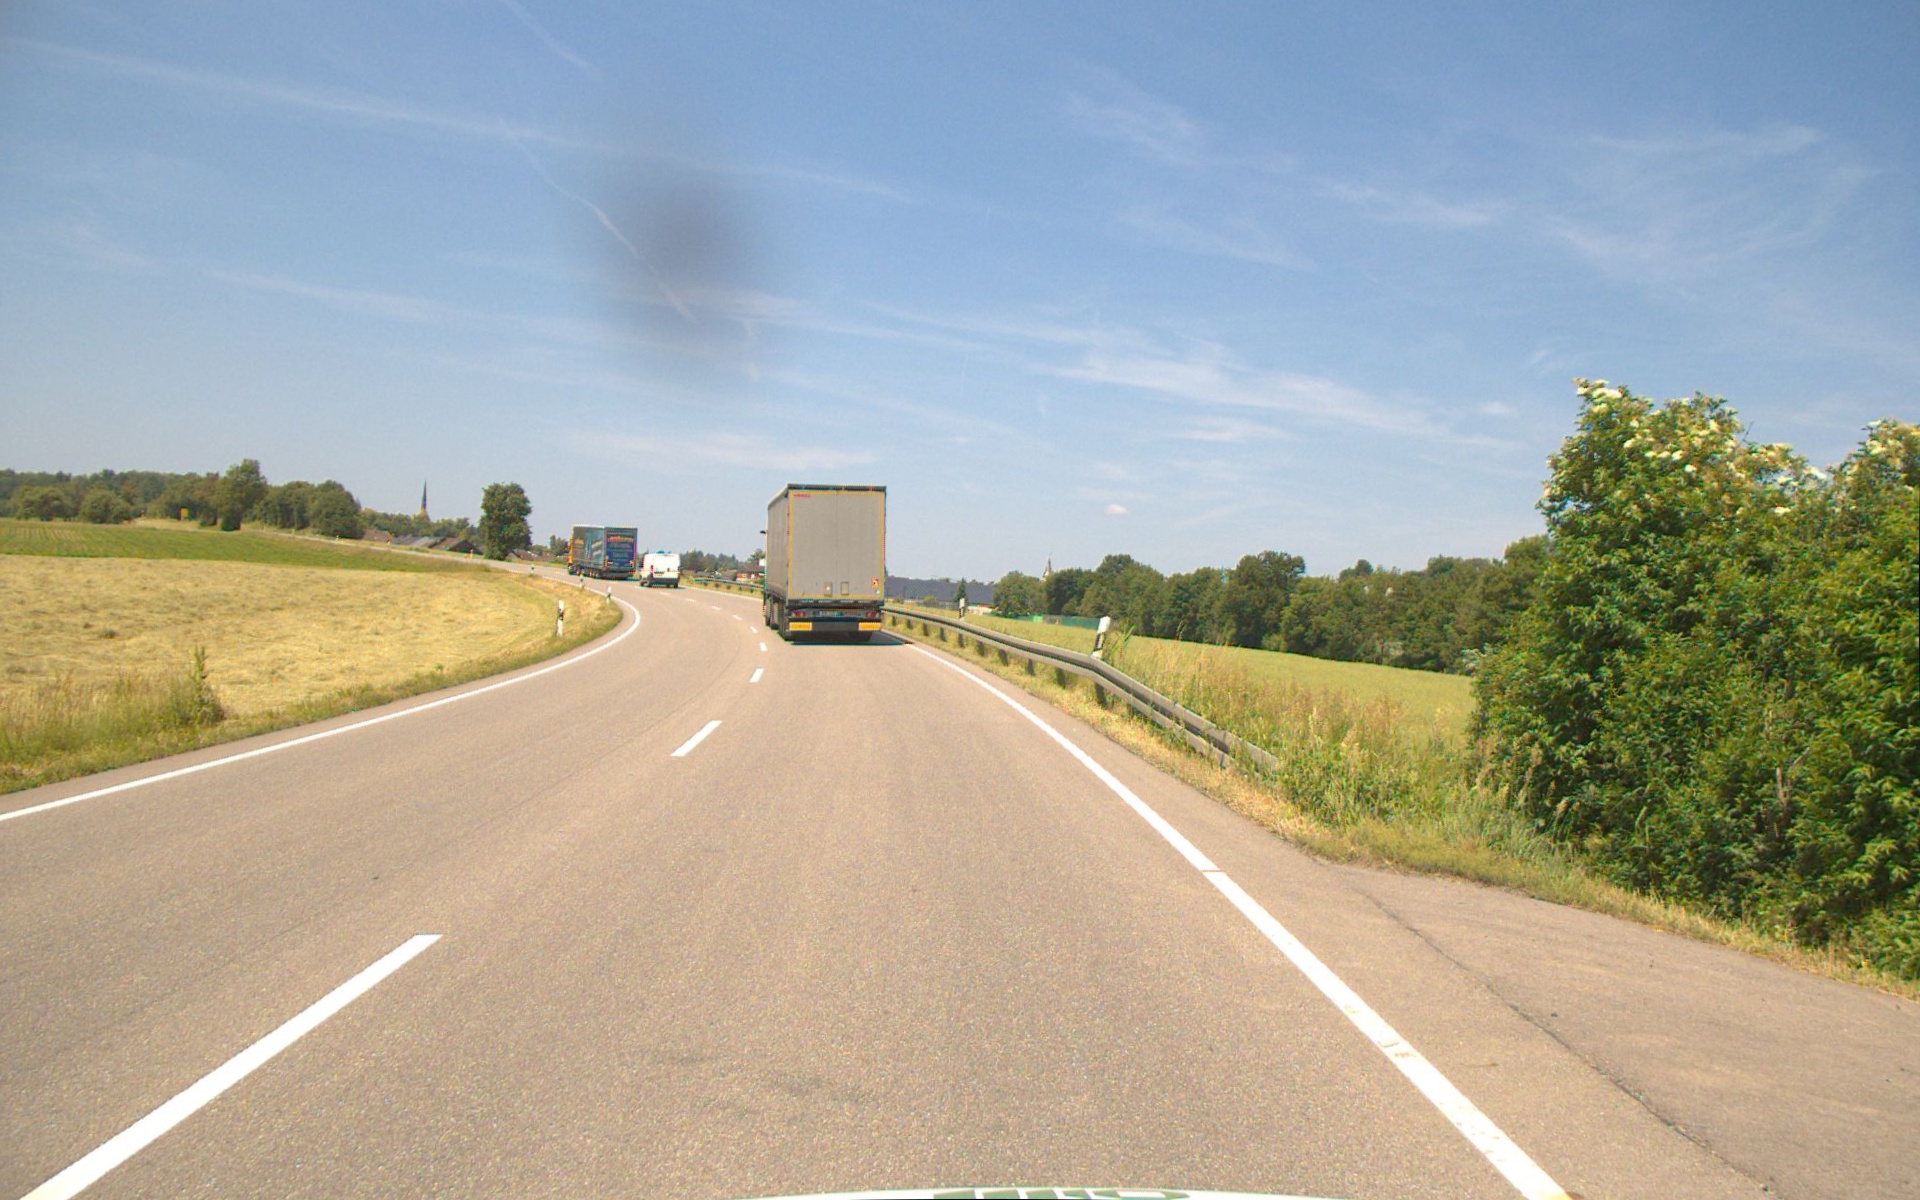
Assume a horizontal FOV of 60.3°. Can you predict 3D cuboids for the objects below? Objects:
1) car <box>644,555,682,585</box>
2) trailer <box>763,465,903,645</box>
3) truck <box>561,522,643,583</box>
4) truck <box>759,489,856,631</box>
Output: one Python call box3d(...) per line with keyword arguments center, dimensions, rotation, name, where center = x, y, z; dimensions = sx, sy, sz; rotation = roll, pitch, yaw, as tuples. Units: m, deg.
box3d(center=(-20.177, -2.028, 112.256), dimensions=(1.701, 1.905, 3.973), rotation=(2, -1, -22), name="car")
box3d(center=(-3.980, -1.197, 48.228), dimensions=(2.814, 4.477, 13.462), rotation=(1, 1, -10), name="trailer")
box3d(center=(-29.344, -3.828, 134.663), dimensions=(3.499, 4.468, 18.005), rotation=(3, 0, -22), name="truck")
box3d(center=(-5.158, -1.298, 55.174), dimensions=(2.807, 4.477, 5.060), rotation=(1, 1, -10), name="truck")
